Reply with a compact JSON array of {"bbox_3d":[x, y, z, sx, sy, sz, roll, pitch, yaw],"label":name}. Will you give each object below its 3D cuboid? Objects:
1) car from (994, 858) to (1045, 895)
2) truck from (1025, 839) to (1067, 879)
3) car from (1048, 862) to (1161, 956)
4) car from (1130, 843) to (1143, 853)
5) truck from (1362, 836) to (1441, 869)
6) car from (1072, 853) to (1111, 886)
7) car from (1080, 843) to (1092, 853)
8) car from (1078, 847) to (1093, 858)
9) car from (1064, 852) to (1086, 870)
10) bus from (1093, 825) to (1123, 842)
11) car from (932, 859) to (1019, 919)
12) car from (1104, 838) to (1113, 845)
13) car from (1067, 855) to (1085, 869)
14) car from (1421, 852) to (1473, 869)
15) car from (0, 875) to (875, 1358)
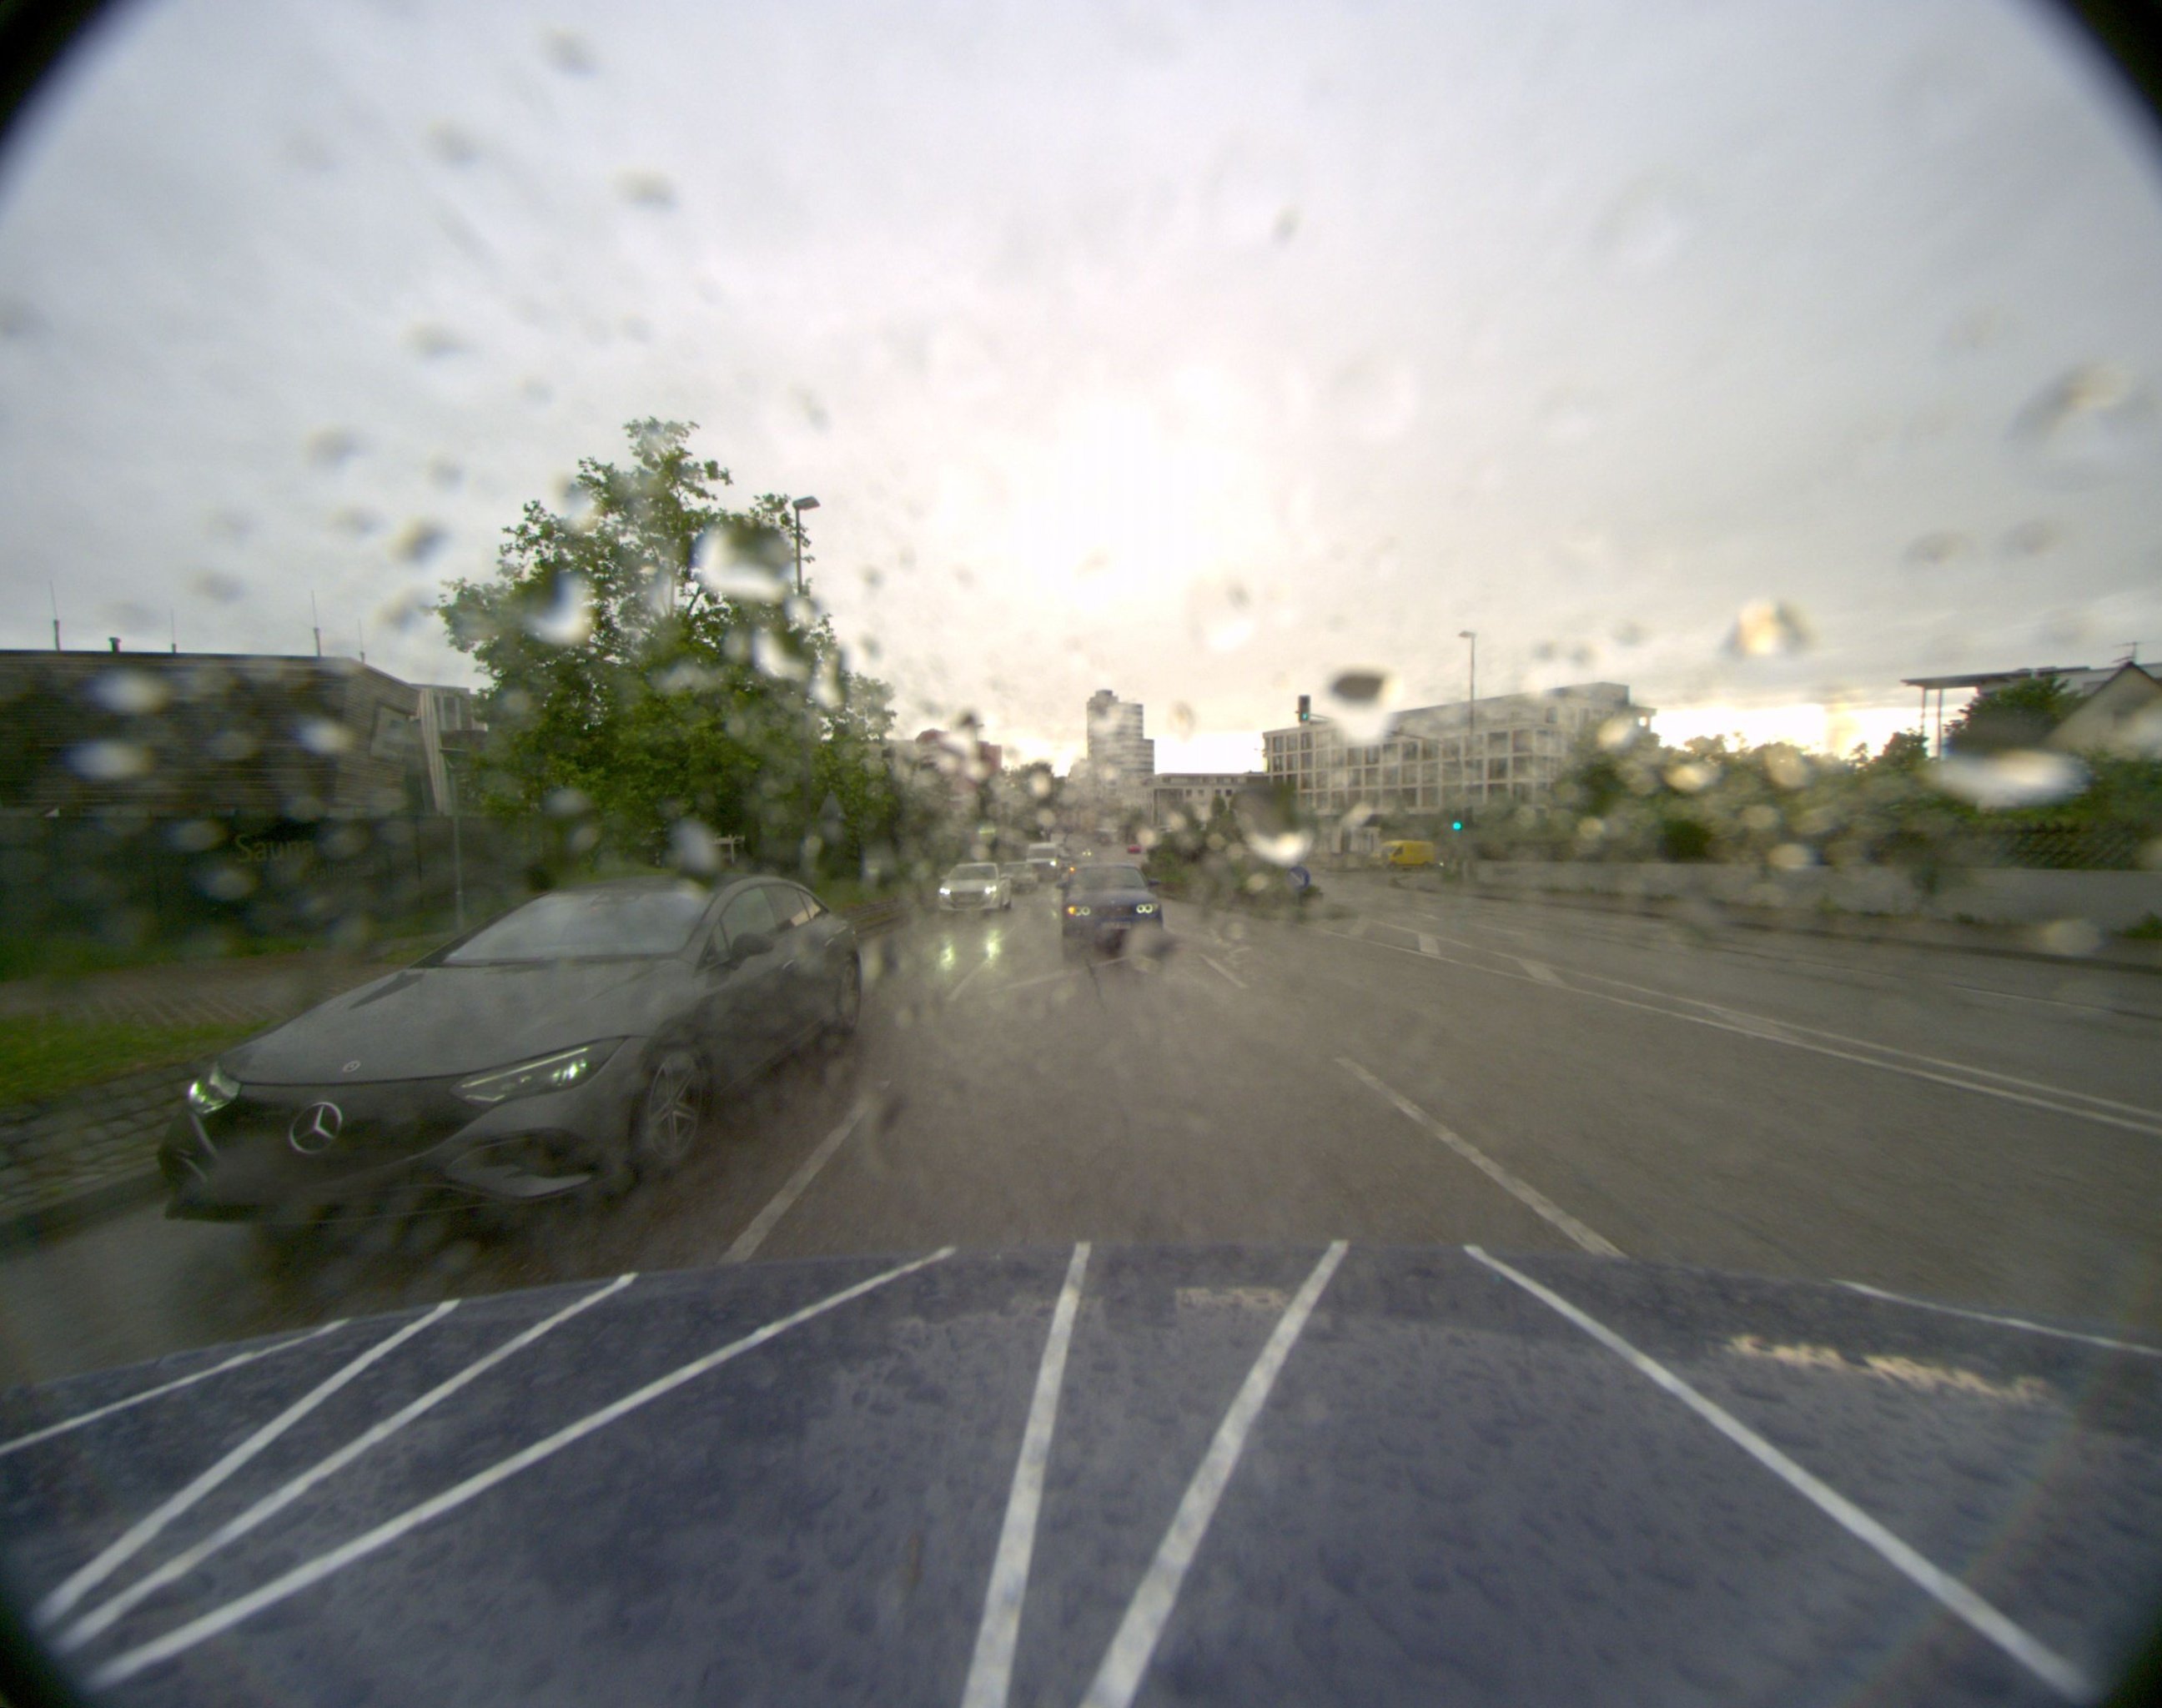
[{"bbox_3d":[-2.725,0.963,34.262,1.717,1.369,3.734,-3,1,3],"label":"car"},{"bbox_3d":[-2.242,0.253,50.669,2.168,2.426,6.199,-1,1,3],"label":"truck"},{"bbox_3d":[0.478,0.914,14.137,1.786,1.335,3.704,-2,1,3],"label":"car"},{"bbox_3d":[9.108,-1.000,124.834,1.998,1.406,4.430,-1,2,2],"label":"car"},{"bbox_3d":[25.742,-0.128,60.987,6.184,2.524,2.223,0,2,-26],"label":"truck"},{"bbox_3d":[0.566,0.716,37.373,1.717,1.369,3.734,-3,1,3],"label":"car"},{"bbox_3d":[0.842,-0.948,124.243,1.998,1.543,4.000,-2,0,0],"label":"car"},{"bbox_3d":[0.680,-0.232,108.439,1.998,1.543,4.000,-2,0,0],"label":"car"},{"bbox_3d":[-0.533,0.592,70.178,1.998,1.543,4.000,-1,0,0],"label":"car"},{"bbox_3d":[6.193,-4.907,180.646,2.954,3.973,18.204,0,2,-12],"label":"bus"},{"bbox_3d":[-2.954,0.943,22.116,1.717,1.389,4.035,-3,1,3],"label":"car"},{"bbox_3d":[5.807,-2.590,158.949,1.907,1.543,4.074,0,1,2],"label":"car"},{"bbox_3d":[-0.528,0.888,88.466,1.998,1.543,4.000,-2,0,0],"label":"car"},{"bbox_3d":[31.436,0.548,65.166,4.363,1.310,1.860,0,2,-30],"label":"car"},{"bbox_3d":[-2.984,1.009,4.965,1.836,1.436,4.550,-3,1,2],"label":"car"}]
